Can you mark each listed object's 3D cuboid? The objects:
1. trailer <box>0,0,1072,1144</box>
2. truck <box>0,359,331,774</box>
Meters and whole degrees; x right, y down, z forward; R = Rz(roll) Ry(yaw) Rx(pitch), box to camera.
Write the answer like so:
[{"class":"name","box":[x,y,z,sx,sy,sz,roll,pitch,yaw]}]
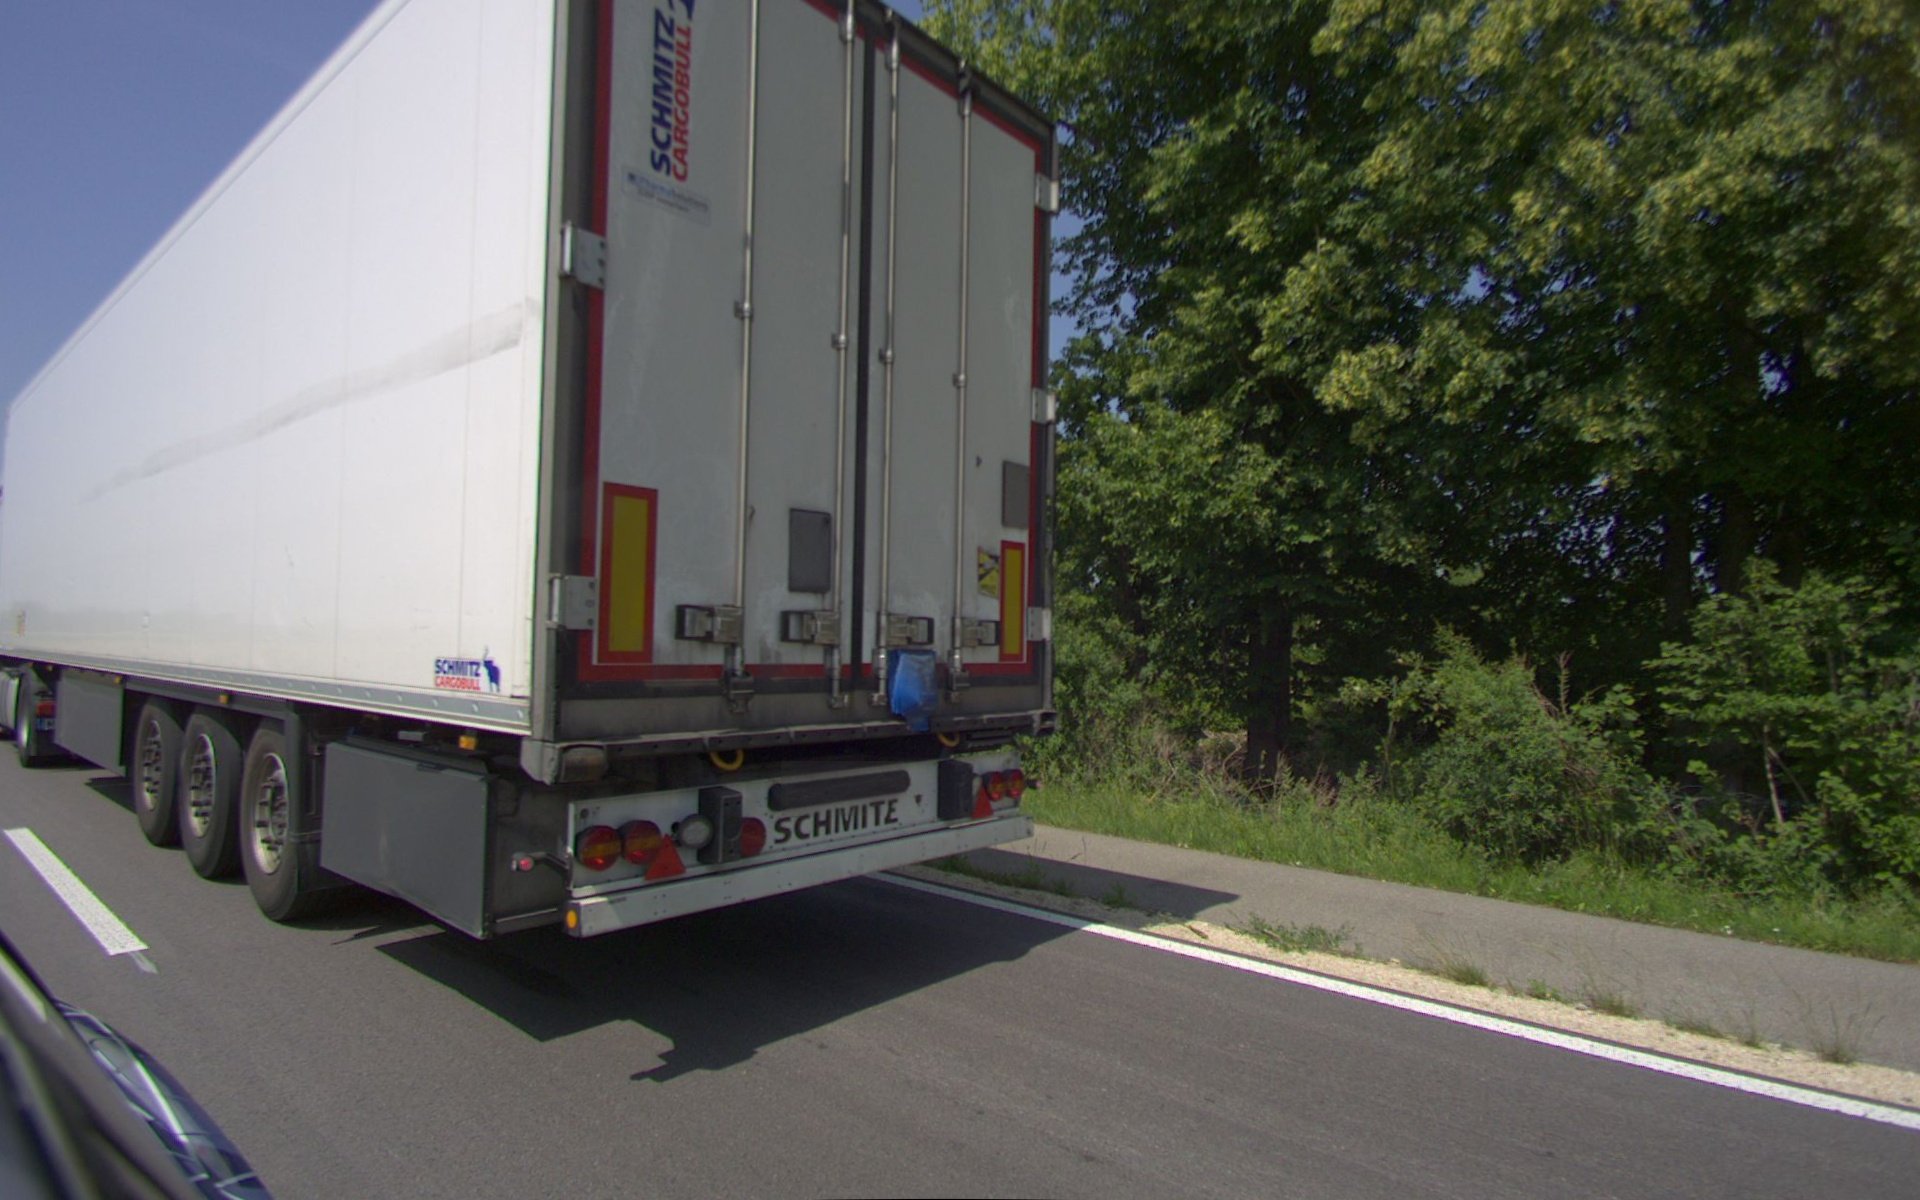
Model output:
[{"class":"trailer","box":[-5.341,-0.360,8.212,13.347,4.008,2.625,-1,-3,41]},{"class":"truck","box":[-10.374,-0.232,12.624,5.724,4.008,2.628,-2,-3,41]}]
